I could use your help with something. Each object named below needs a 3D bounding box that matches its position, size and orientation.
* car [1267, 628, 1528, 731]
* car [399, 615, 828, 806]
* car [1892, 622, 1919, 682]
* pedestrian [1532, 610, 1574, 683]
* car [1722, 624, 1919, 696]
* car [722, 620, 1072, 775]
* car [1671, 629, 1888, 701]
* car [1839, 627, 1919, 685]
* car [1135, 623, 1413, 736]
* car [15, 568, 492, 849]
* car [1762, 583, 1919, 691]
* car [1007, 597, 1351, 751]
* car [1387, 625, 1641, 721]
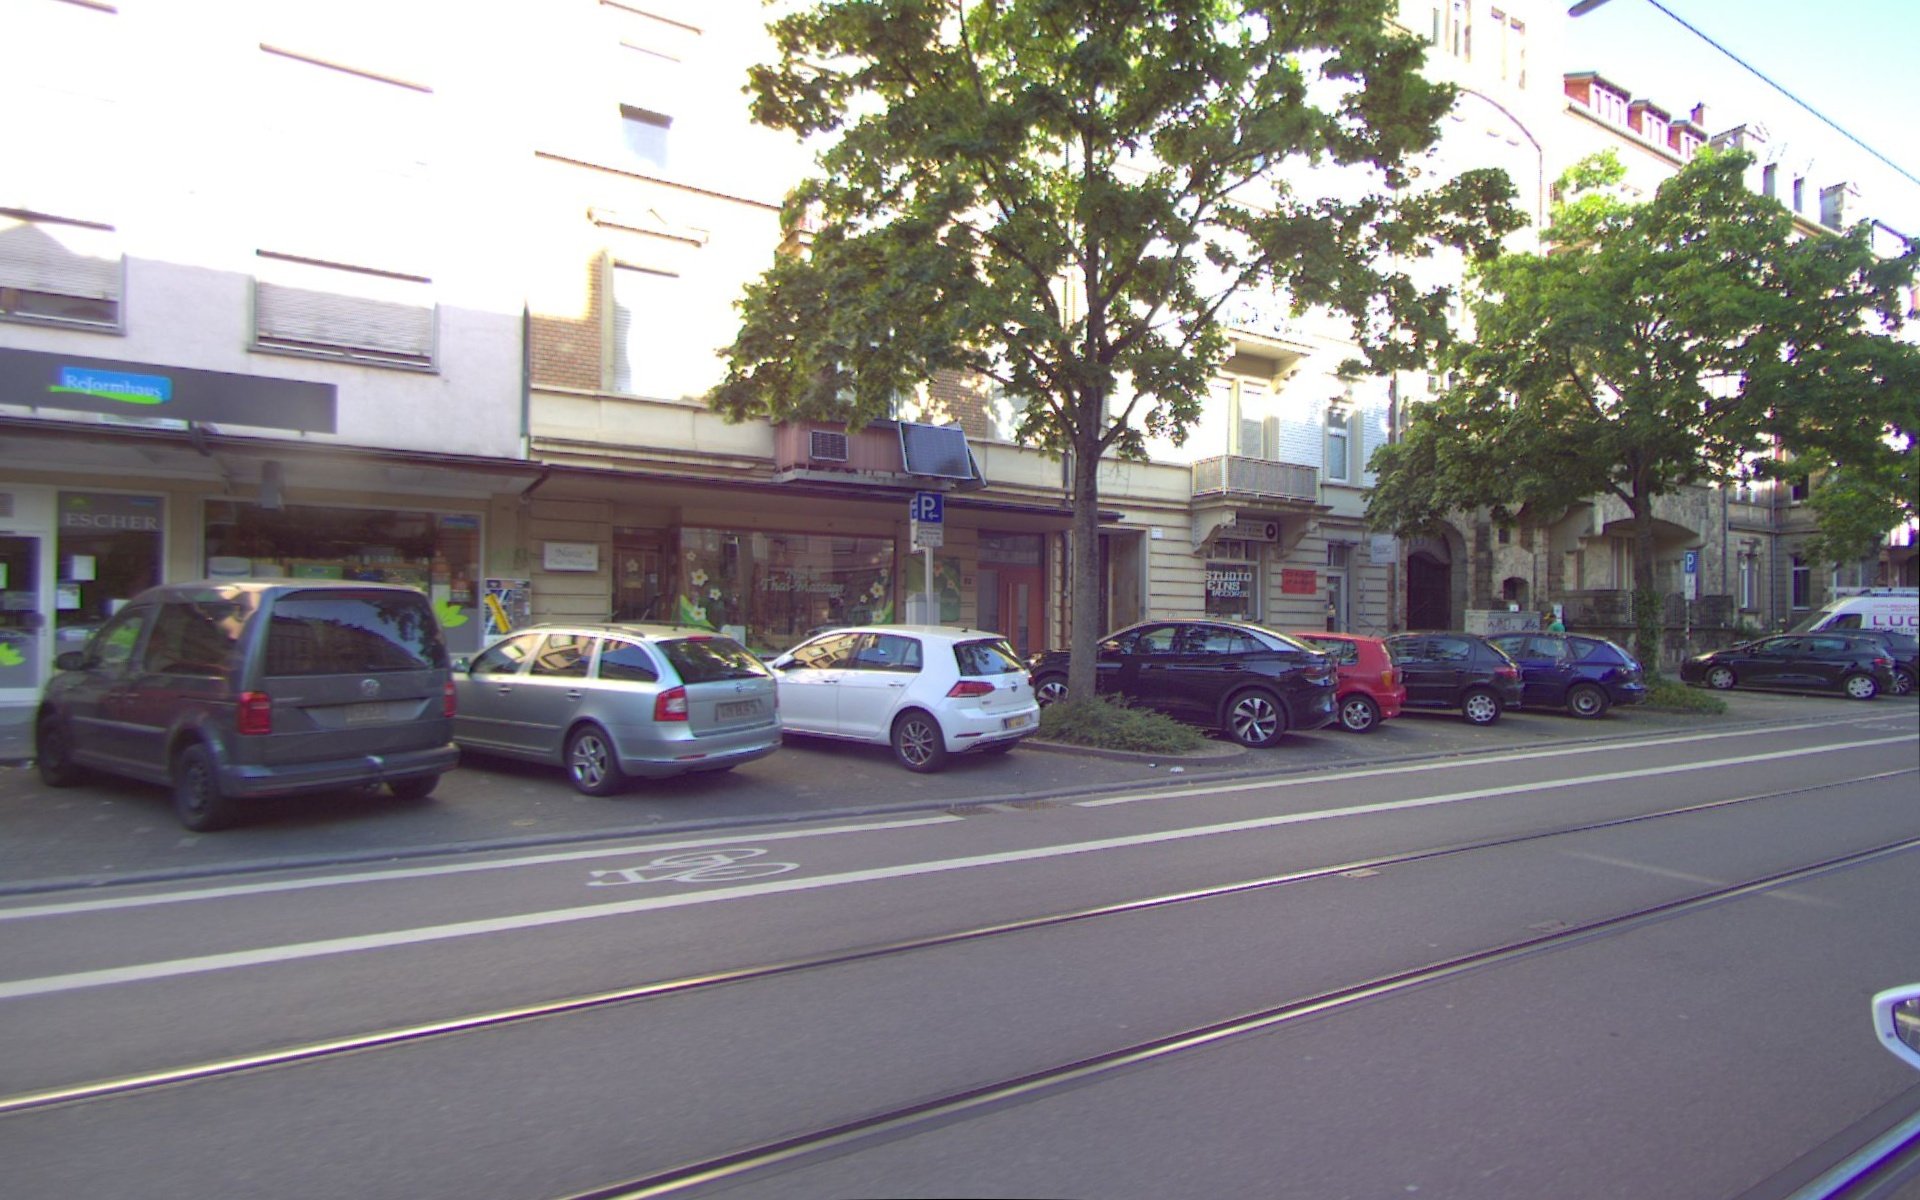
[{"bbox_3d":[7.495,1.288,17.326,3.927,1.509,1.804,1,-1,28],"label":"car"},{"bbox_3d":[-3.409,0.924,9.769,3.945,1.468,1.697,1,-1,28],"label":"car"},{"bbox_3d":[31.211,1.640,30.578,3.933,1.841,1.707,1,-1,35],"label":"car"},{"bbox_3d":[14.555,1.134,24.655,0.753,1.749,0.575,2,-1,-31],"label":"pedestrian"},{"bbox_3d":[22.078,1.486,25.757,3.933,1.639,1.707,1,-1,35],"label":"car"},{"bbox_3d":[-0.793,1.003,11.673,3.780,1.449,1.761,1,-1,35],"label":"car"},{"bbox_3d":[19.820,1.507,24.385,3.945,1.509,1.795,0,-1,44],"label":"car"},{"bbox_3d":[28.969,1.658,29.333,4.684,1.639,1.710,1,-1,28],"label":"car"},{"bbox_3d":[4.966,1.168,15.927,3.927,1.509,1.865,1,-1,28],"label":"car"},{"bbox_3d":[-5.952,0.717,8.413,3.754,1.808,1.794,2,0,29],"label":"car"},{"bbox_3d":[24.906,0.975,26.754,5.293,2.785,1.802,1,-1,31],"label":"car"},{"bbox_3d":[3.019,0.904,13.942,4.287,1.806,1.993,1,-1,28],"label":"car"},{"bbox_3d":[10.186,1.267,18.608,3.931,1.509,1.802,1,-1,33],"label":"car"}]
